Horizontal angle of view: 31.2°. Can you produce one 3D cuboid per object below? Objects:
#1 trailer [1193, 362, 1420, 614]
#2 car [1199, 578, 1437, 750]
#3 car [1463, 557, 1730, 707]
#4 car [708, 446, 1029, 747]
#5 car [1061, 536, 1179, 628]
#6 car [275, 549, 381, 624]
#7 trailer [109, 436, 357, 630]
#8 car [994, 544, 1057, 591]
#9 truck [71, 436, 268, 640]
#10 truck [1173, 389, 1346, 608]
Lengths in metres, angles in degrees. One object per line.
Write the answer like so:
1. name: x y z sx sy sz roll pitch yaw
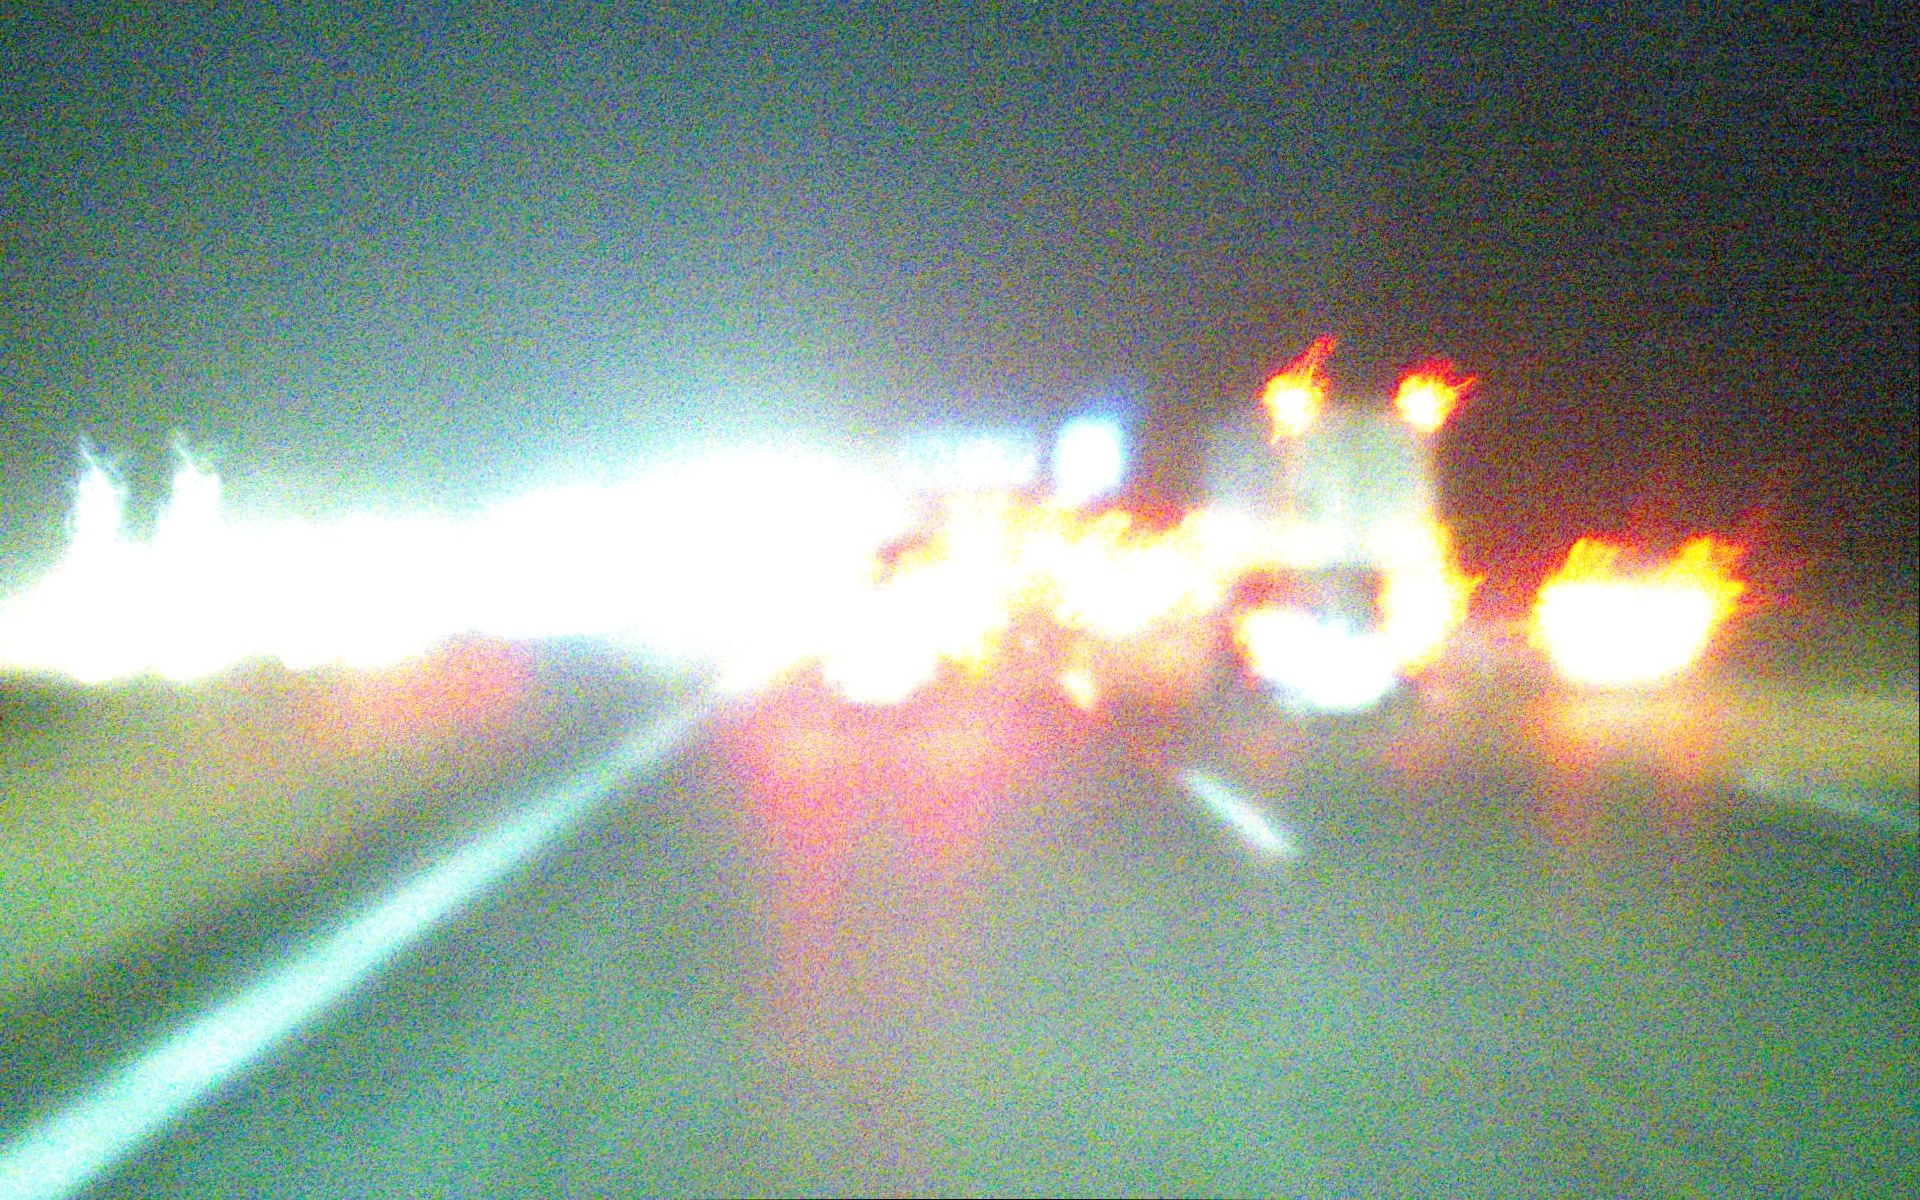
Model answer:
1. trailer: 6.208 -1.964 63.562 2.803 4.198 12.097 0 1 -1
2. car: 3.123 0.523 30.627 1.612 1.407 3.792 0 1 -2
3. car: 6.988 0.302 38.234 1.894 1.481 4.962 1 1 -2
4. car: -0.897 -0.096 32.891 2.709 2.525 5.831 -2 1 -2
5. car: 2.842 -0.340 61.793 1.884 1.583 4.000 0 1 -1
6. car: -14.341 -0.324 78.222 1.678 1.592 4.349 -2 1 -2
7. trailer: -17.528 -1.744 84.224 2.886 4.289 15.720 1 2 -1
8. car: 2.282 -1.148 120.934 2.137 1.612 4.000 1 0 0
9. truck: -17.469 -1.427 76.410 2.886 4.320 6.746 1 2 -1
10. truck: 6.095 -2.040 71.033 2.803 4.252 7.448 0 1 -1
